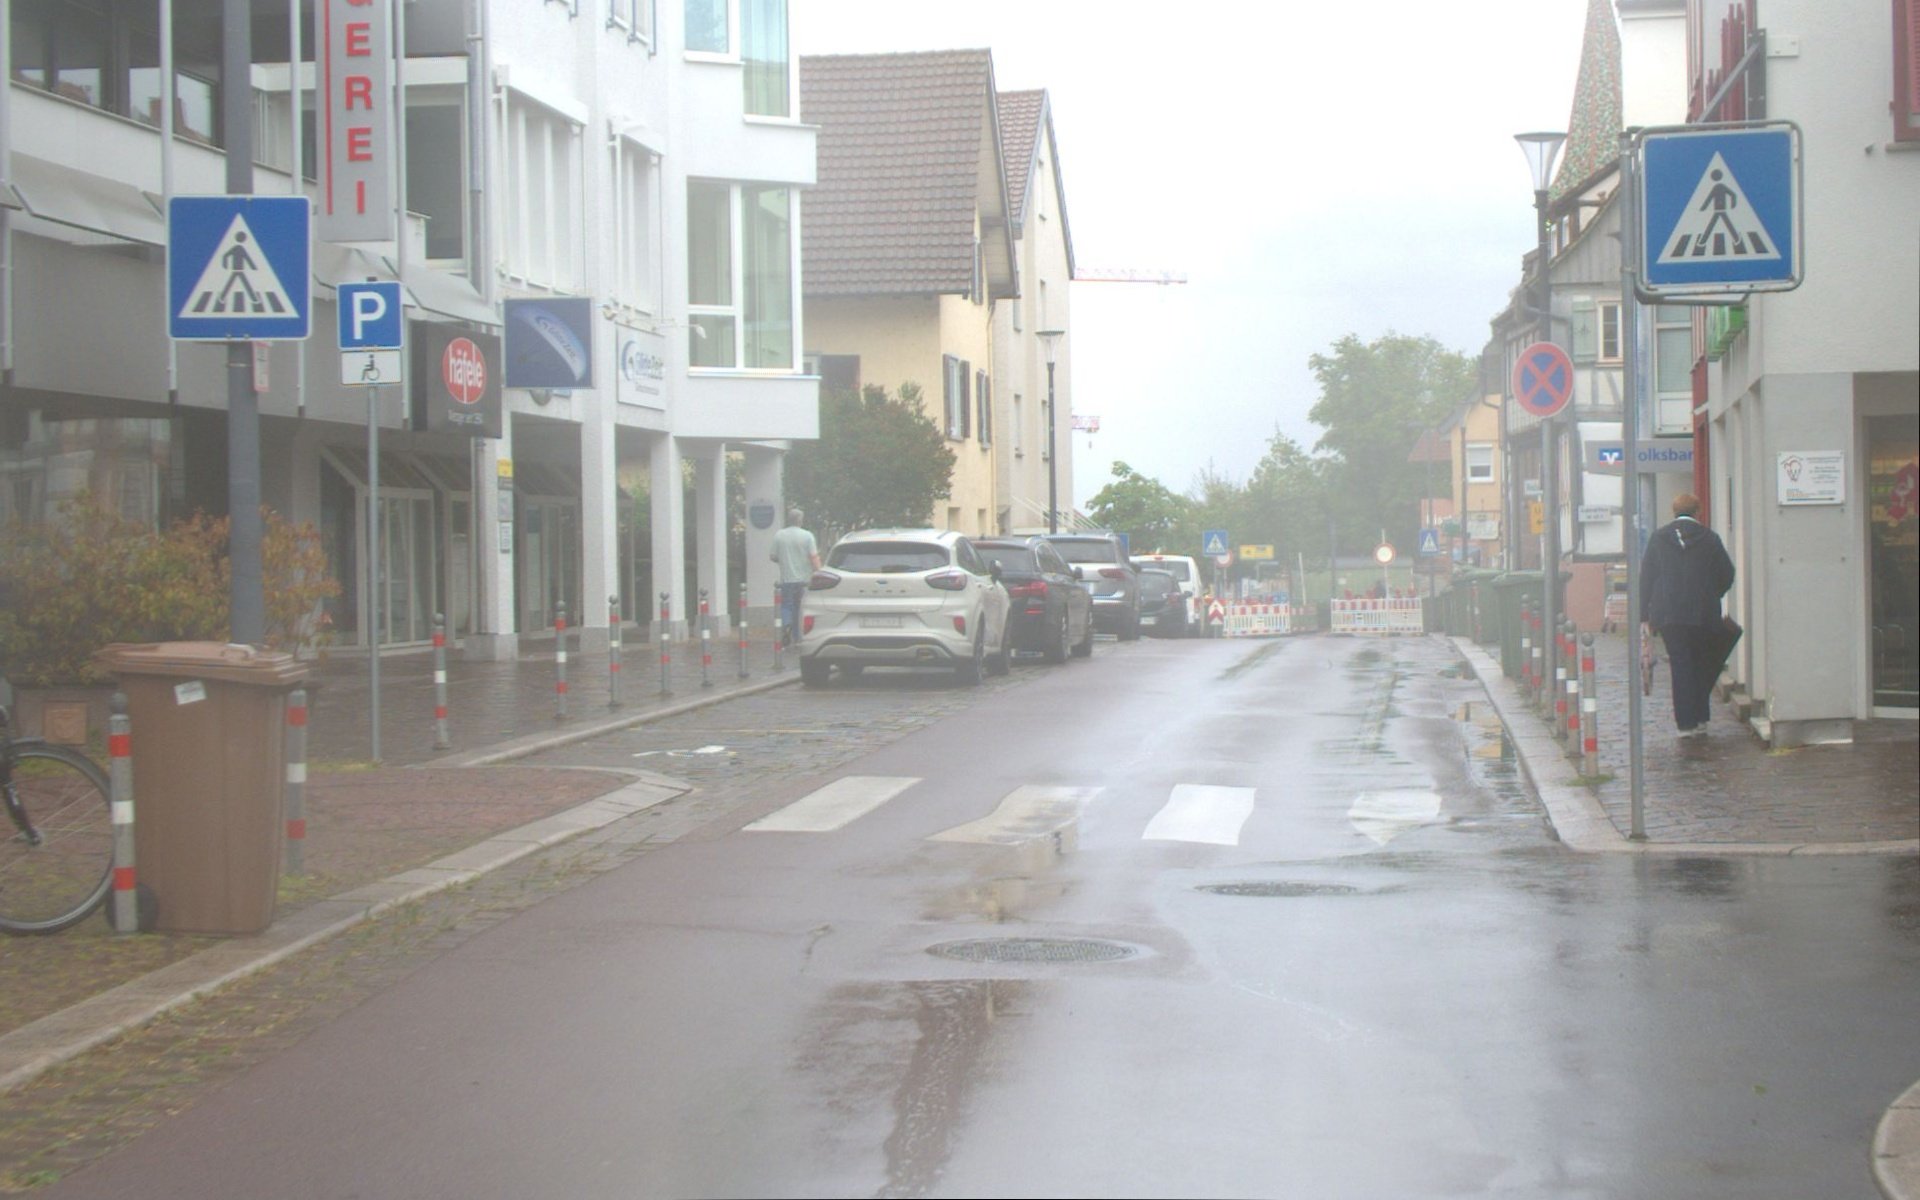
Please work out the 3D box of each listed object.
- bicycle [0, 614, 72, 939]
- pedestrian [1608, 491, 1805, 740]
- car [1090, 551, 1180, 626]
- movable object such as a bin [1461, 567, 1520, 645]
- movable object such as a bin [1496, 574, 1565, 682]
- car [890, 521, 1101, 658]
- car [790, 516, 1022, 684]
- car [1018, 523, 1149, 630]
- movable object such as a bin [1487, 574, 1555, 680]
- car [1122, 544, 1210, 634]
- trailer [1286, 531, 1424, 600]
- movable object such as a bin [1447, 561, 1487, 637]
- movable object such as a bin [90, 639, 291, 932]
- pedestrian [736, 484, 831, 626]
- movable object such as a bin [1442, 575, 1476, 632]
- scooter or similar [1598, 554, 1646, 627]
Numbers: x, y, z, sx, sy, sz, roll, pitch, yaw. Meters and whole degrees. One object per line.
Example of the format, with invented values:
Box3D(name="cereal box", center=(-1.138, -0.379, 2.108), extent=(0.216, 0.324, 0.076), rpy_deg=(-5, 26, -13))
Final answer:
Box3D(name="bicycle", center=(-4.109, 0.634, 12.375), extent=(1.745, 1.160, 0.444), rpy_deg=(0, -1, -12))
Box3D(name="pedestrian", center=(5.302, 0.102, 24.494), extent=(1.177, 1.691, 1.177), rpy_deg=(-2, 0, 5))
Box3D(name="car", center=(3.398, -0.199, 66.272), extent=(1.681, 1.384, 3.825), rpy_deg=(0, -1, 4))
Box3D(name="movable object such as a bin", center=(7.759, 0.090, 50.313), extent=(0.804, 1.127, 0.862), rpy_deg=(0, -1, 6))
Box3D(name="movable object such as a bin", center=(5.773, 0.279, 34.801), extent=(0.676, 1.082, 0.718), rpy_deg=(0, 0, 9))
Box3D(name="car", center=(0.492, -0.156, 40.725), extent=(1.831, 1.493, 4.762), rpy_deg=(-1, 1, 9))
Box3D(name="car", center=(-0.480, -0.052, 34.786), extent=(1.792, 1.545, 3.999), rpy_deg=(1, 2, 7))
Box3D(name="car", center=(1.956, -0.334, 53.343), extent=(1.780, 1.563, 4.407), rpy_deg=(0, -1, 5))
Box3D(name="movable object such as a bin", center=(5.802, 0.273, 35.578), extent=(0.676, 1.080, 0.697), rpy_deg=(0, 0, 9))
Box3D(name="car", center=(4.356, -0.194, 72.213), extent=(1.724, 1.819, 4.427), rpy_deg=(0, -1, 5))
Box3D(name="trailer", center=(17.068, -1.472, 148.844), extent=(5.781, 2.937, 2.000), rpy_deg=(0, -1, 2))
Box3D(name="movable object such as a bin", center=(8.723, -0.011, 59.182), extent=(0.638, 1.286, 0.632), rpy_deg=(0, -1, 12))
Box3D(name="movable object such as a bin", center=(-2.800, 0.662, 12.561), extent=(0.686, 1.016, 0.632), rpy_deg=(0, 1, -10))
Box3D(name="pedestrian", center=(-2.270, -0.576, 44.349), extent=(1.035, 1.800, 1.116), rpy_deg=(0, 1, 8))
Box3D(name="movable object such as a bin", center=(10.154, 0.073, 69.977), extent=(0.638, 1.143, 0.603), rpy_deg=(0, -1, 12))
Box3D(name="scooter or similar", center=(10.599, -0.143, 54.991), extent=(0.665, 1.142, 1.445), rpy_deg=(0, -1, 14))
